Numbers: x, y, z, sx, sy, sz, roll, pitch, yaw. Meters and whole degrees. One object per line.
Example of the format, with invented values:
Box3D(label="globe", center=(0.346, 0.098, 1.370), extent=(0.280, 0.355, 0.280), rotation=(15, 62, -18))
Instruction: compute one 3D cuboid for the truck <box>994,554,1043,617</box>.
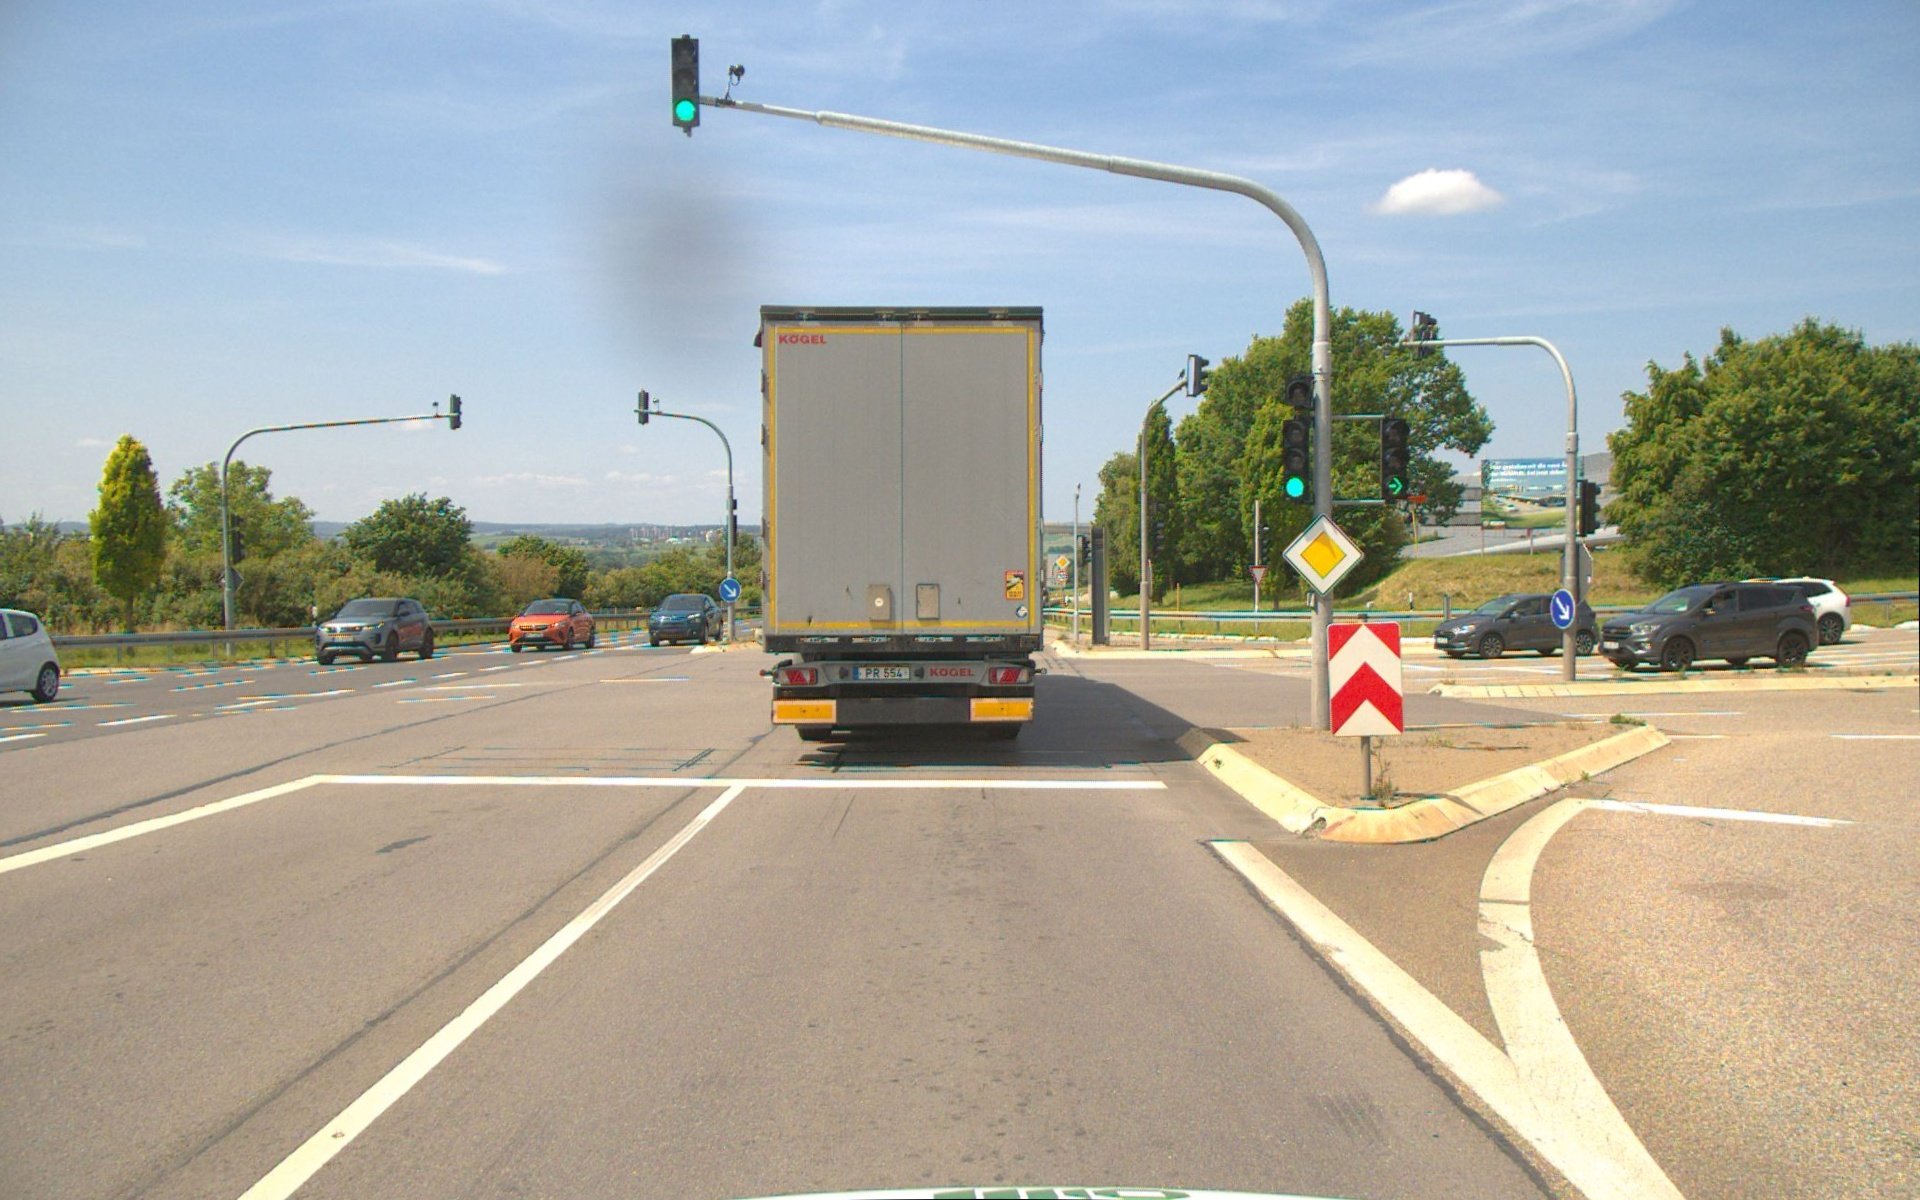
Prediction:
Box3D(label="truck", center=(3.881, -0.852, 107.870), extent=(2.599, 3.830, 10.167), rotation=(1, -1, 5))

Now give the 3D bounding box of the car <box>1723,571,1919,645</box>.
Box3D(label="car", center=(21.762, 0.190, 41.708), extent=(4.279, 1.620, 1.776), rotation=(-3, 0, -10))

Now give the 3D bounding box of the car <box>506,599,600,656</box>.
Box3D(label="car", center=(-11.731, 0.761, 47.927), extent=(1.610, 1.523, 4.066), rotation=(-2, 0, 1))

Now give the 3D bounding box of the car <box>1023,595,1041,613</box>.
Box3D(label="car", center=(7.083, 0.400, 162.494), extent=(1.749, 1.717, 4.002), rotation=(1, -1, 3))

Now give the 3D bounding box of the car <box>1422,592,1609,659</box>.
Box3D(label="car", center=(13.211, 0.602, 39.421), extent=(3.914, 1.537, 1.712), rotation=(0, 0, -10))

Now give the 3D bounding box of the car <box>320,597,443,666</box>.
Box3D(label="car", center=(-14.903, 0.795, 42.842), extent=(1.610, 1.652, 4.327), rotation=(-2, -1, 0))

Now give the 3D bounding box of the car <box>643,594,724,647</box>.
Box3D(label="car", center=(-8.360, 0.590, 50.325), extent=(1.719, 1.494, 4.196), rotation=(-1, 0, 1))

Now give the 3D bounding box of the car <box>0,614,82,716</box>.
Box3D(label="car", center=(-15.167, 0.998, 25.061), extent=(1.610, 1.523, 3.801), rotation=(-2, -1, 1))

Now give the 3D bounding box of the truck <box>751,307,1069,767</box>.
Box3D(label="truck", center=(-0.751, -0.547, 20.123), extent=(2.743, 3.998, 11.333), rotation=(1, 0, -3))

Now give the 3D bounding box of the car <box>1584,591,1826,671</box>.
Box3D(label="car", center=(14.950, 0.603, 33.240), extent=(4.282, 1.537, 1.711), rotation=(0, 0, -13))
